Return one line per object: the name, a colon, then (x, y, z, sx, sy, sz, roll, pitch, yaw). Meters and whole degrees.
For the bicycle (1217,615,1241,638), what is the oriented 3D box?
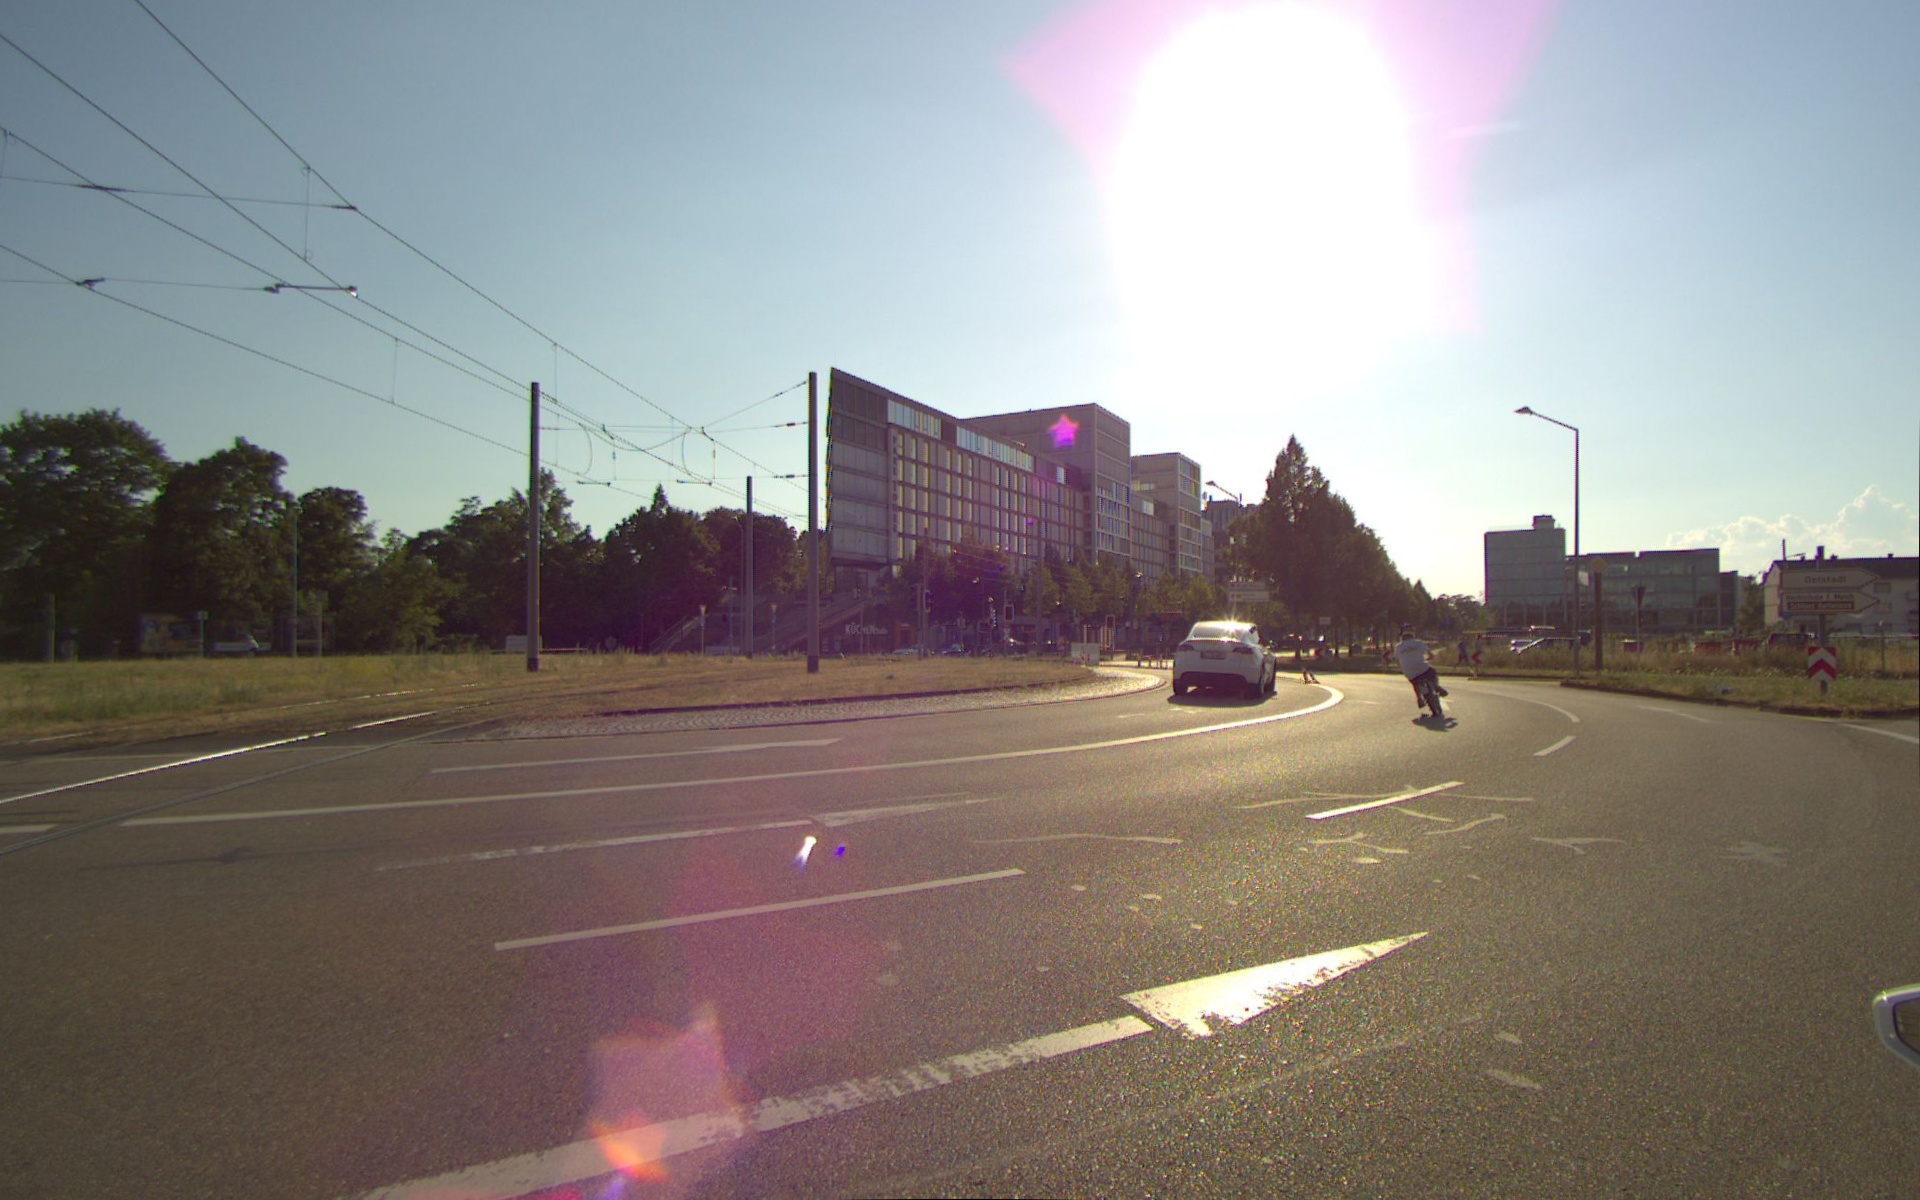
bicycle: (17.391, 1.732, 64.859, 0.475, 1.493, 1.529, 1, -2, -35)

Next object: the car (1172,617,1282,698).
car: (6.201, 1.210, 22.987, 1.707, 1.620, 4.674, 0, 0, 24)

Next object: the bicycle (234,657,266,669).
bicycle: (-47.446, 4.206, 67.125, 1.704, 0.754, 0.476, 0, -2, -34)

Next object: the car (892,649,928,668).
car: (-4.173, 4.876, 84.634, 1.458, 1.495, 3.293, -2, -2, 31)

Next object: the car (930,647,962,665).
car: (-1.259, 5.083, 91.076, 1.458, 1.495, 3.293, -2, -2, 31)

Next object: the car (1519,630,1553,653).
car: (52.452, 3.751, 91.518, 1.960, 2.040, 4.001, -1, -2, 19)

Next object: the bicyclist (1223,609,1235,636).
bicyclist: (17.368, 1.468, 64.906, 0.473, 1.694, 0.603, 1, -2, -35)

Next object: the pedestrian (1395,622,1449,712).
pedestrian: (8.153, 1.158, 17.717, 0.648, 1.539, 0.850, -2, -2, 40)

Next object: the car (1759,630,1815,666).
car: (44.715, 2.557, 54.283, 3.973, 1.878, 1.901, 1, -2, -44)

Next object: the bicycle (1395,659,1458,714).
bicycle: (8.362, 1.520, 17.960, 0.472, 0.887, 1.845, -1, -2, 43)

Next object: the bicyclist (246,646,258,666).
bicyclist: (-47.334, 3.738, 67.167, 0.647, 1.343, 0.514, 0, -2, -34)
